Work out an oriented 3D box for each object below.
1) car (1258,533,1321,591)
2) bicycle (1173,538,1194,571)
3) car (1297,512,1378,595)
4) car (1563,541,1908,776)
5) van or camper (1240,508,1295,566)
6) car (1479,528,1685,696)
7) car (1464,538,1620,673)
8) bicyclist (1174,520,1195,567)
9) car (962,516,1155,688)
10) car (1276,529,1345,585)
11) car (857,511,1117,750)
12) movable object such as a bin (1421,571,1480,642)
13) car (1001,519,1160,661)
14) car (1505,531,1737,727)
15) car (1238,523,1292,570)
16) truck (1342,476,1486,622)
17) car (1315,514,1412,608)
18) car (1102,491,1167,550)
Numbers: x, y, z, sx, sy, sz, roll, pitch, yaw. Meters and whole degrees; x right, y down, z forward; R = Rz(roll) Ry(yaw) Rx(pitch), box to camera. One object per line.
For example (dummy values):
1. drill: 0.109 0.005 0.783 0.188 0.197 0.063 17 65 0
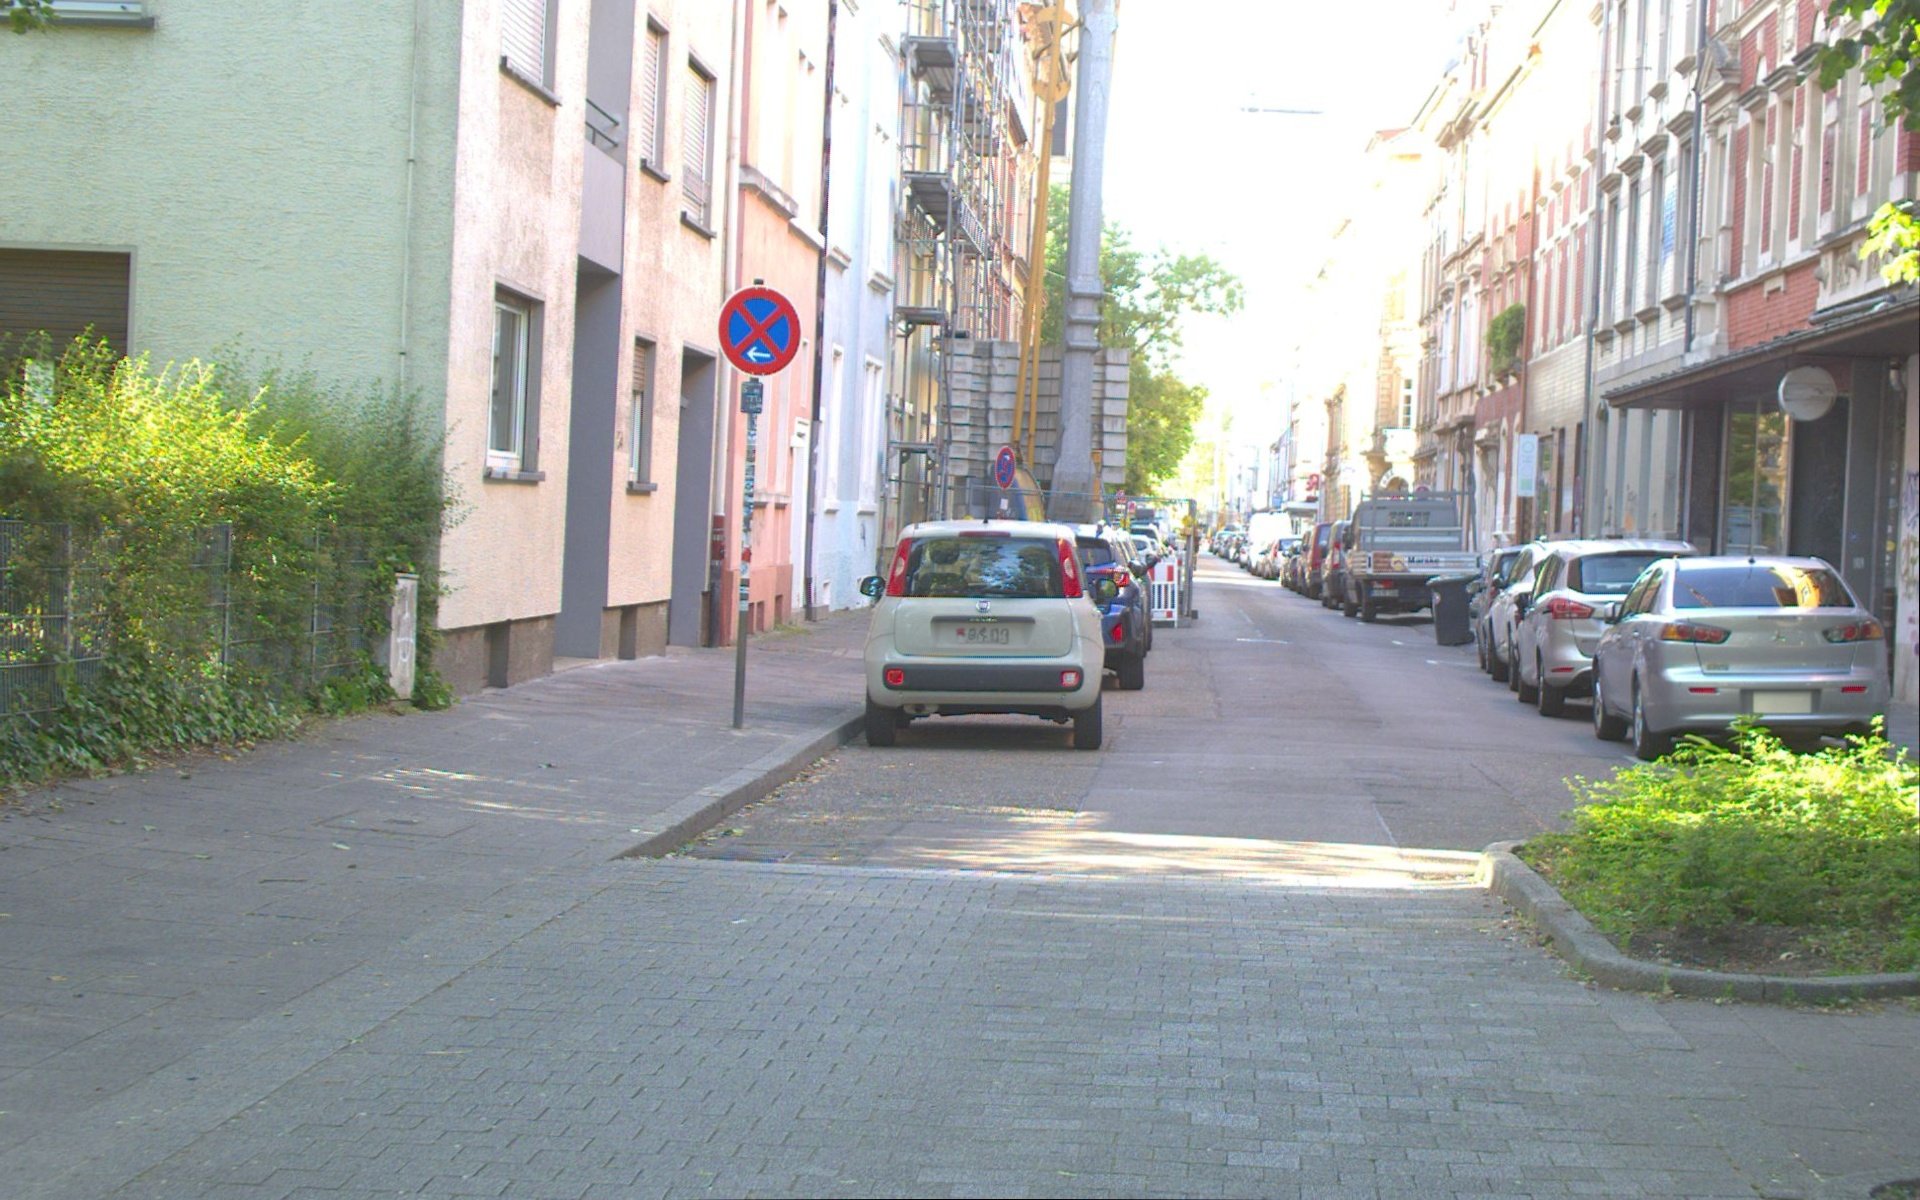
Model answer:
1. car: 12.024 -1.397 125.700 1.994 2.007 4.000 2 1 2
2. bicycle: 8.570 -1.734 131.541 0.724 1.182 2.042 3 2 4
3. car: 9.624 -1.186 87.860 1.675 2.024 3.869 2 1 1
4. car: 5.745 0.368 25.959 1.721 1.557 4.398 2 1 3
5. van or camper: 13.768 -2.839 154.251 1.993 2.500 4.203 1 1 0
6. car: 6.739 0.086 37.609 1.747 1.670 4.340 2 1 5
7. car: 7.218 0.034 42.912 1.597 1.555 3.813 2 1 5
8. bicyclist: 8.584 -2.152 131.488 0.730 1.755 0.835 3 2 4
9. car: 0.946 -0.023 33.386 1.729 1.534 4.378 1 1 1
10. car: 10.300 -1.279 101.243 1.675 1.565 3.869 2 1 1
11. car: 0.225 0.167 24.557 1.675 1.534 3.869 1 1 1
12. movable object such as a bin: 7.516 0.095 52.683 0.795 1.052 0.660 2 1 4
13. car: 1.415 -0.160 38.959 1.675 1.506 4.414 0 1 3
14. car: 6.105 0.225 32.090 1.640 1.650 3.869 2 1 5
15. car: 12.427 -2.186 140.162 1.994 1.842 4.000 1 1 2
16. truck: 8.513 -0.977 64.885 2.190 2.598 5.234 1 1 3
17. car: 8.817 -0.870 75.395 1.675 1.956 4.109 2 1 1
18. car: 4.882 -2.216 96.354 1.675 1.565 3.869 2 1 1
